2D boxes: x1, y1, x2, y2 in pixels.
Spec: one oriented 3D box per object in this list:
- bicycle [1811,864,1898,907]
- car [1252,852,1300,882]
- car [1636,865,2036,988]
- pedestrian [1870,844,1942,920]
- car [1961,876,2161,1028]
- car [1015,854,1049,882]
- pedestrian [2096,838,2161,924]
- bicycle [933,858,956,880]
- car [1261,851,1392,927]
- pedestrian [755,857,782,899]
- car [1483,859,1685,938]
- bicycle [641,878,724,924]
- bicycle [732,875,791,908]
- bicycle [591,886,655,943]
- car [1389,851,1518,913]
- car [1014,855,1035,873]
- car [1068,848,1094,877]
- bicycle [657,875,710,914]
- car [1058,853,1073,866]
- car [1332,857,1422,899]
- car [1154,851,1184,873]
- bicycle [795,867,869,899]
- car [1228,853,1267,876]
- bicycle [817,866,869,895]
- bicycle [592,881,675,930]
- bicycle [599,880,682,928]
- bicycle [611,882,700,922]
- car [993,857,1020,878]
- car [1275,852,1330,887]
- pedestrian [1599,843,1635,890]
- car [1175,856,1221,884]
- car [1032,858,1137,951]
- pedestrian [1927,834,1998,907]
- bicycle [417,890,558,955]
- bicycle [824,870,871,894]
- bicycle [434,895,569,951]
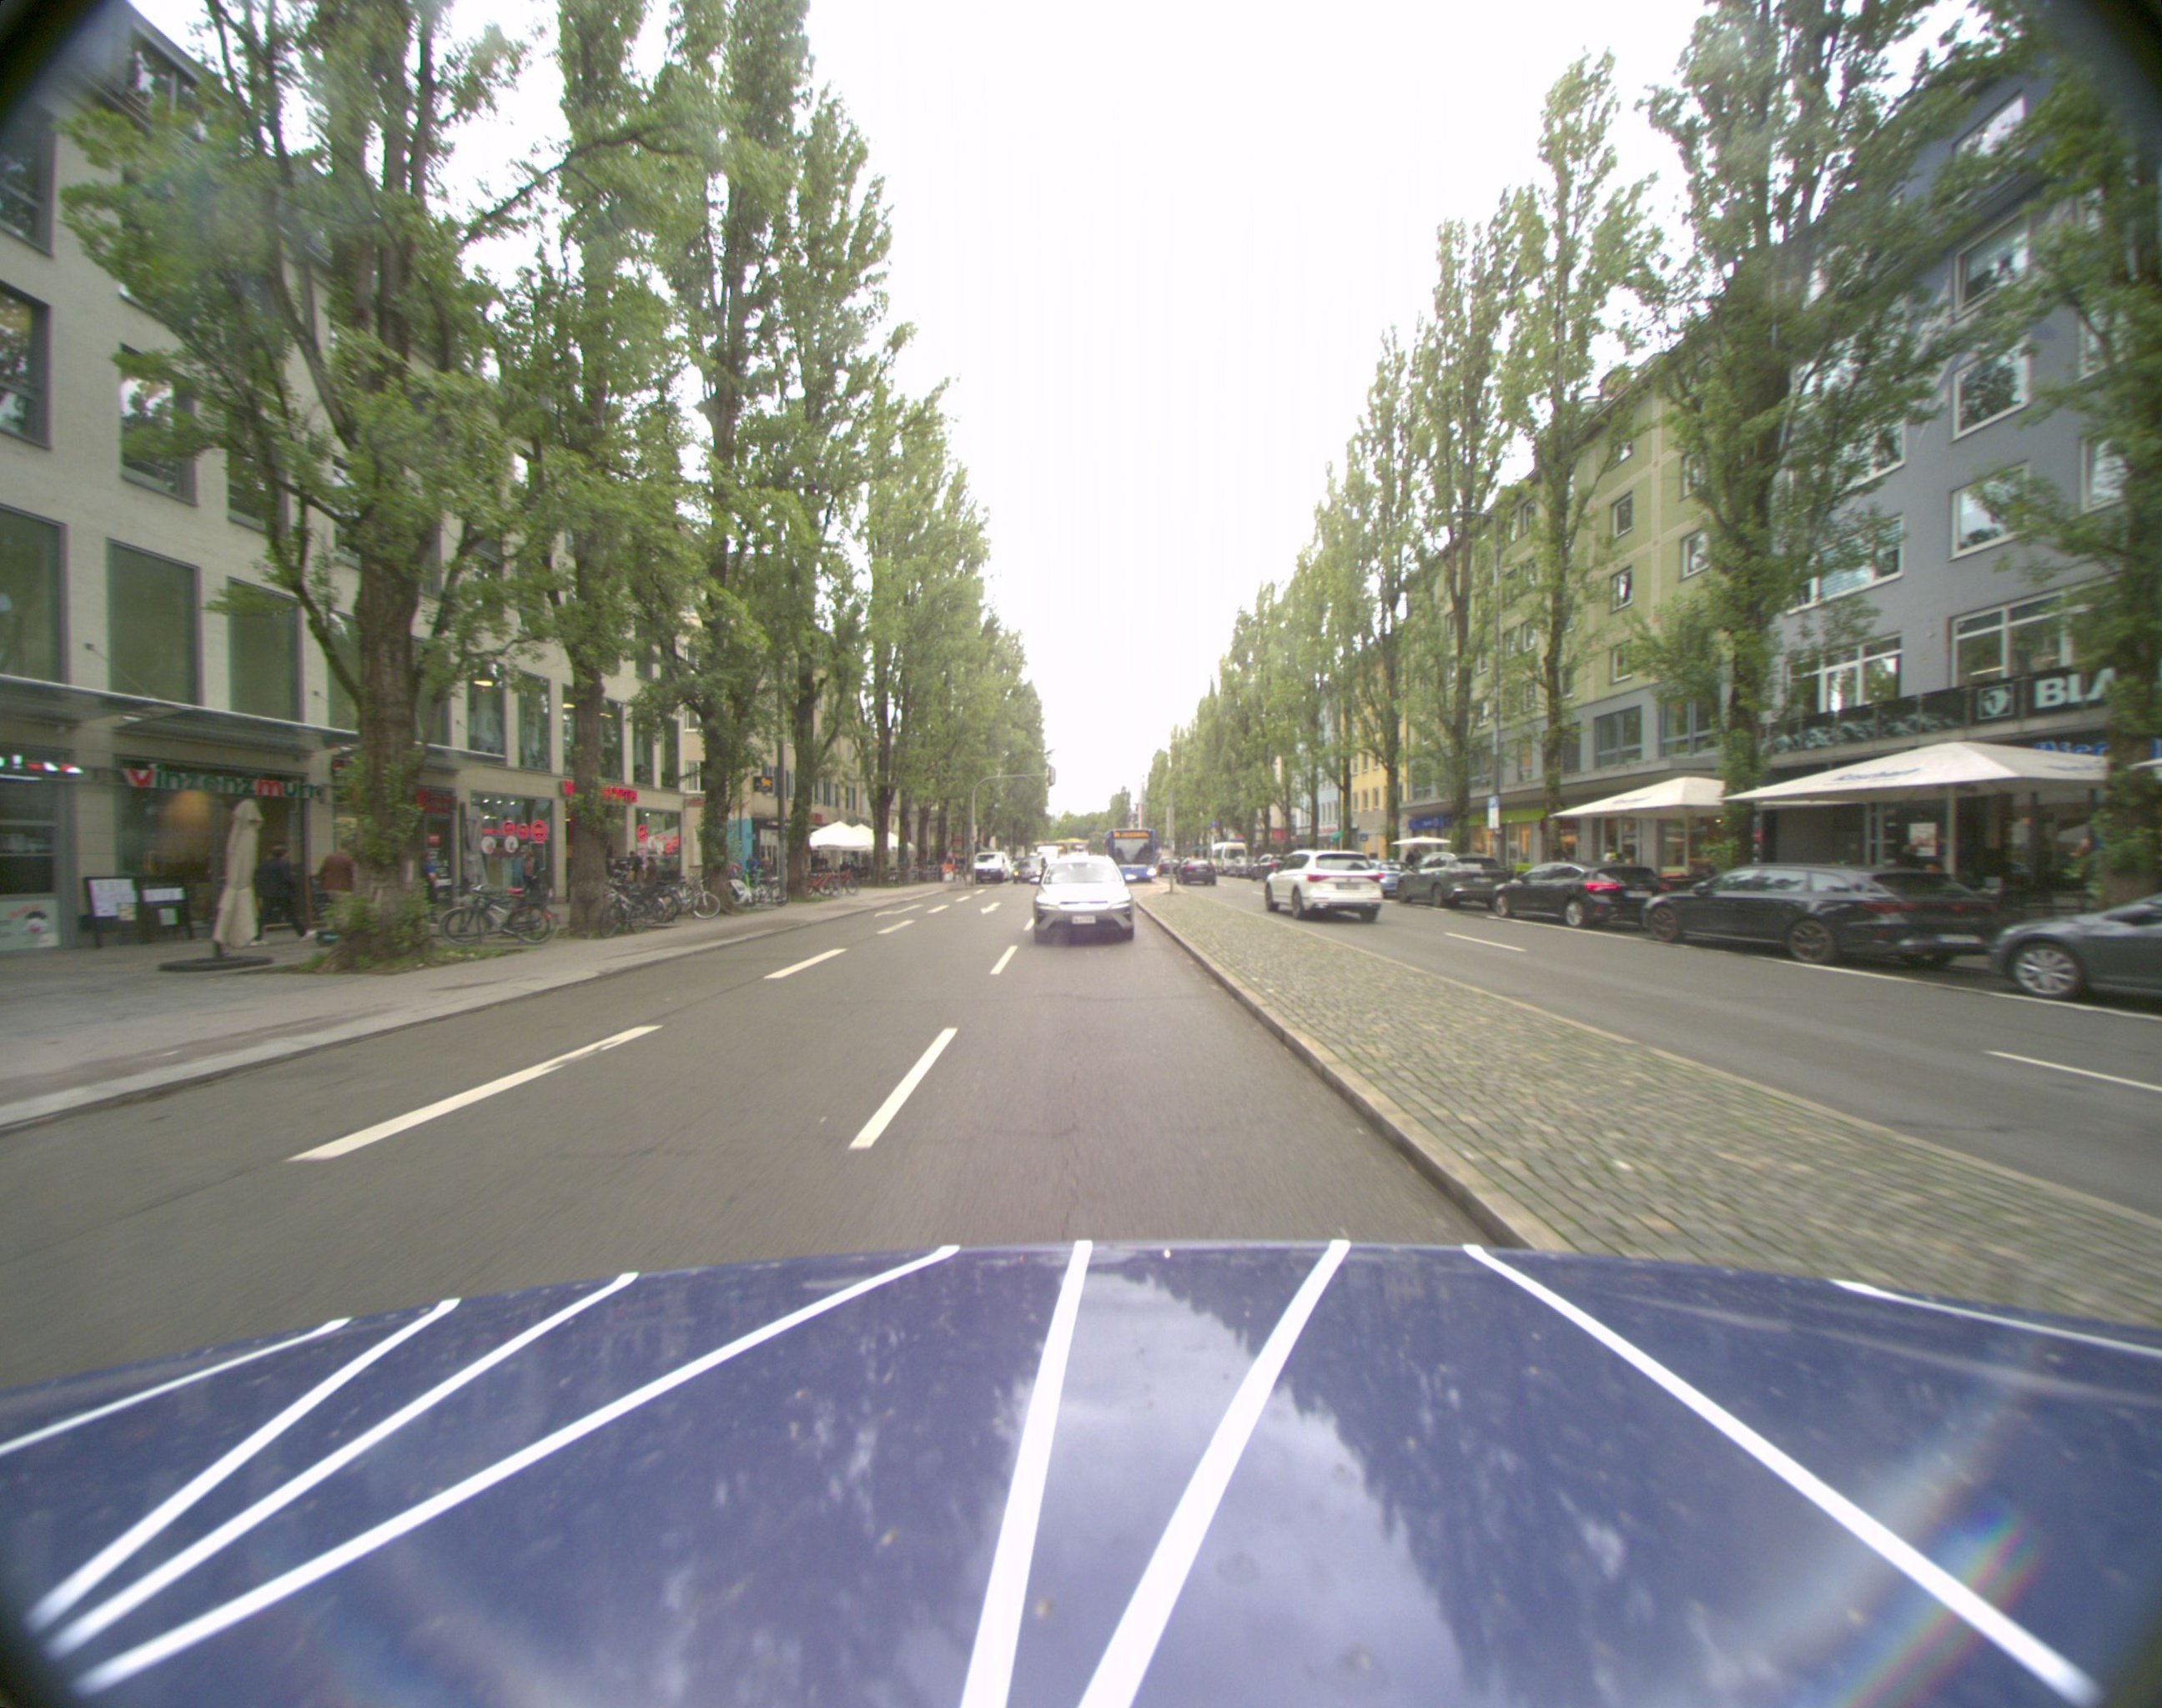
[{"bbox_3d":[20.865,0.820,20.540,0.618,1.091,1.579,-1,0,-11],"label":"bicycle"},{"bbox_3d":[11.470,0.750,44.985,1.707,1.623,4.502,1,1,0],"label":"car"},{"bbox_3d":[11.123,0.951,11.778,1.707,1.404,4.432,1,1,-1],"label":"car"},{"bbox_3d":[17.860,0.596,16.469,0.755,1.592,0.743,0,1,-1],"label":"pedestrian"},{"bbox_3d":[10.989,0.980,6.740,1.497,1.373,4.186,1,1,0],"label":"car"},{"bbox_3d":[-2.944,0.815,46.537,1.758,1.529,3.916,-2,0,0],"label":"car"},{"bbox_3d":[21.995,0.539,15.798,0.742,1.744,0.756,0,1,1],"label":"pedestrian"},{"bbox_3d":[-9.221,0.986,51.271,0.829,1.403,2.594,-2,0,-25],"label":"bicycle"},{"bbox_3d":[5.909,0.758,18.940,1.848,1.626,4.575,1,0,1],"label":"car"},{"bbox_3d":[-12.111,0.909,29.446,0.711,1.580,0.793,1,1,-1],"label":"pedestrian"},{"bbox_3d":[11.126,0.903,17.233,1.681,1.458,4.369,1,1,0],"label":"car"},{"bbox_3d":[-10.227,1.193,19.536,1.871,1.129,0.339,0,1,-8],"label":"bicycle"},{"bbox_3d":[-10.342,1.205,24.611,1.842,1.003,0.393,1,1,10],"label":"bicycle"},{"bbox_3d":[-9.659,1.242,16.096,0.435,1.055,2.003,-1,0,-9],"label":"bicycle"},{"bbox_3d":[11.253,0.766,23.356,1.784,1.671,4.586,1,1,2],"label":"car"},{"bbox_3d":[-4.885,0.843,66.449,1.476,1.518,3.602,-1,0,1],"label":"car"},{"bbox_3d":[0.005,0.668,62.319,2.025,2.235,4.410,-2,0,0],"label":"car"},{"bbox_3d":[-11.829,1.185,22.677,0.392,1.057,2.006,1,0,4],"label":"bicycle"},{"bbox_3d":[-1.915,0.695,94.602,1.758,1.529,3.916,-2,0,0],"label":"car"},{"bbox_3d":[11.234,0.873,29.144,1.662,1.409,4.400,1,1,-1],"label":"car"},{"bbox_3d":[6.333,0.564,55.004,1.761,1.457,4.050,1,1,1],"label":"car"},{"bbox_3d":[-9.793,1.116,29.984,2.577,1.208,0.965,0,1,1],"label":"bicycle"},{"bbox_3d":[11.686,0.695,53.565,1.707,1.520,4.260,1,1,-1],"label":"car"},{"bbox_3d":[-9.785,1.084,31.261,1.902,1.120,0.686,0,1,1],"label":"bicycle"},{"bbox_3d":[-10.585,1.213,18.000,1.679,1.111,0.286,0,1,-12],"label":"bicycle"},{"bbox_3d":[-10.649,1.198,18.400,1.666,1.100,0.396,0,1,-11],"label":"bicycle"},{"bbox_3d":[-11.140,1.245,19.917,2.005,0.982,0.392,-1,1,-8],"label":"bicycle"},{"bbox_3d":[-5.209,0.950,53.229,1.476,1.389,3.483,0,0,1],"label":"car"},{"bbox_3d":[11.629,0.750,40.079,1.622,1.677,3.770,2,1,-2],"label":"car"},{"bbox_3d":[20.194,0.463,28.630,0.820,1.744,0.756,-1,1,1],"label":"pedestrian"},{"bbox_3d":[6.177,0.815,40.625,1.841,1.353,4.176,2,0,1],"label":"car"},{"bbox_3d":[0.062,0.853,14.714,1.758,1.529,3.916,0,0,0],"label":"car"},{"bbox_3d":[20.199,0.369,17.427,0.742,1.631,0.756,0,1,2],"label":"pedestrian"},{"bbox_3d":[-10.533,1.199,13.527,2.006,1.077,0.285,-1,1,-16],"label":"bicycle"},{"bbox_3d":[-9.885,1.186,32.177,1.844,1.003,0.503,0,1,1],"label":"bicycle"},{"bbox_3d":[-10.637,1.257,14.003,2.006,0.939,0.285,-1,1,-15],"label":"bicycle"}]
